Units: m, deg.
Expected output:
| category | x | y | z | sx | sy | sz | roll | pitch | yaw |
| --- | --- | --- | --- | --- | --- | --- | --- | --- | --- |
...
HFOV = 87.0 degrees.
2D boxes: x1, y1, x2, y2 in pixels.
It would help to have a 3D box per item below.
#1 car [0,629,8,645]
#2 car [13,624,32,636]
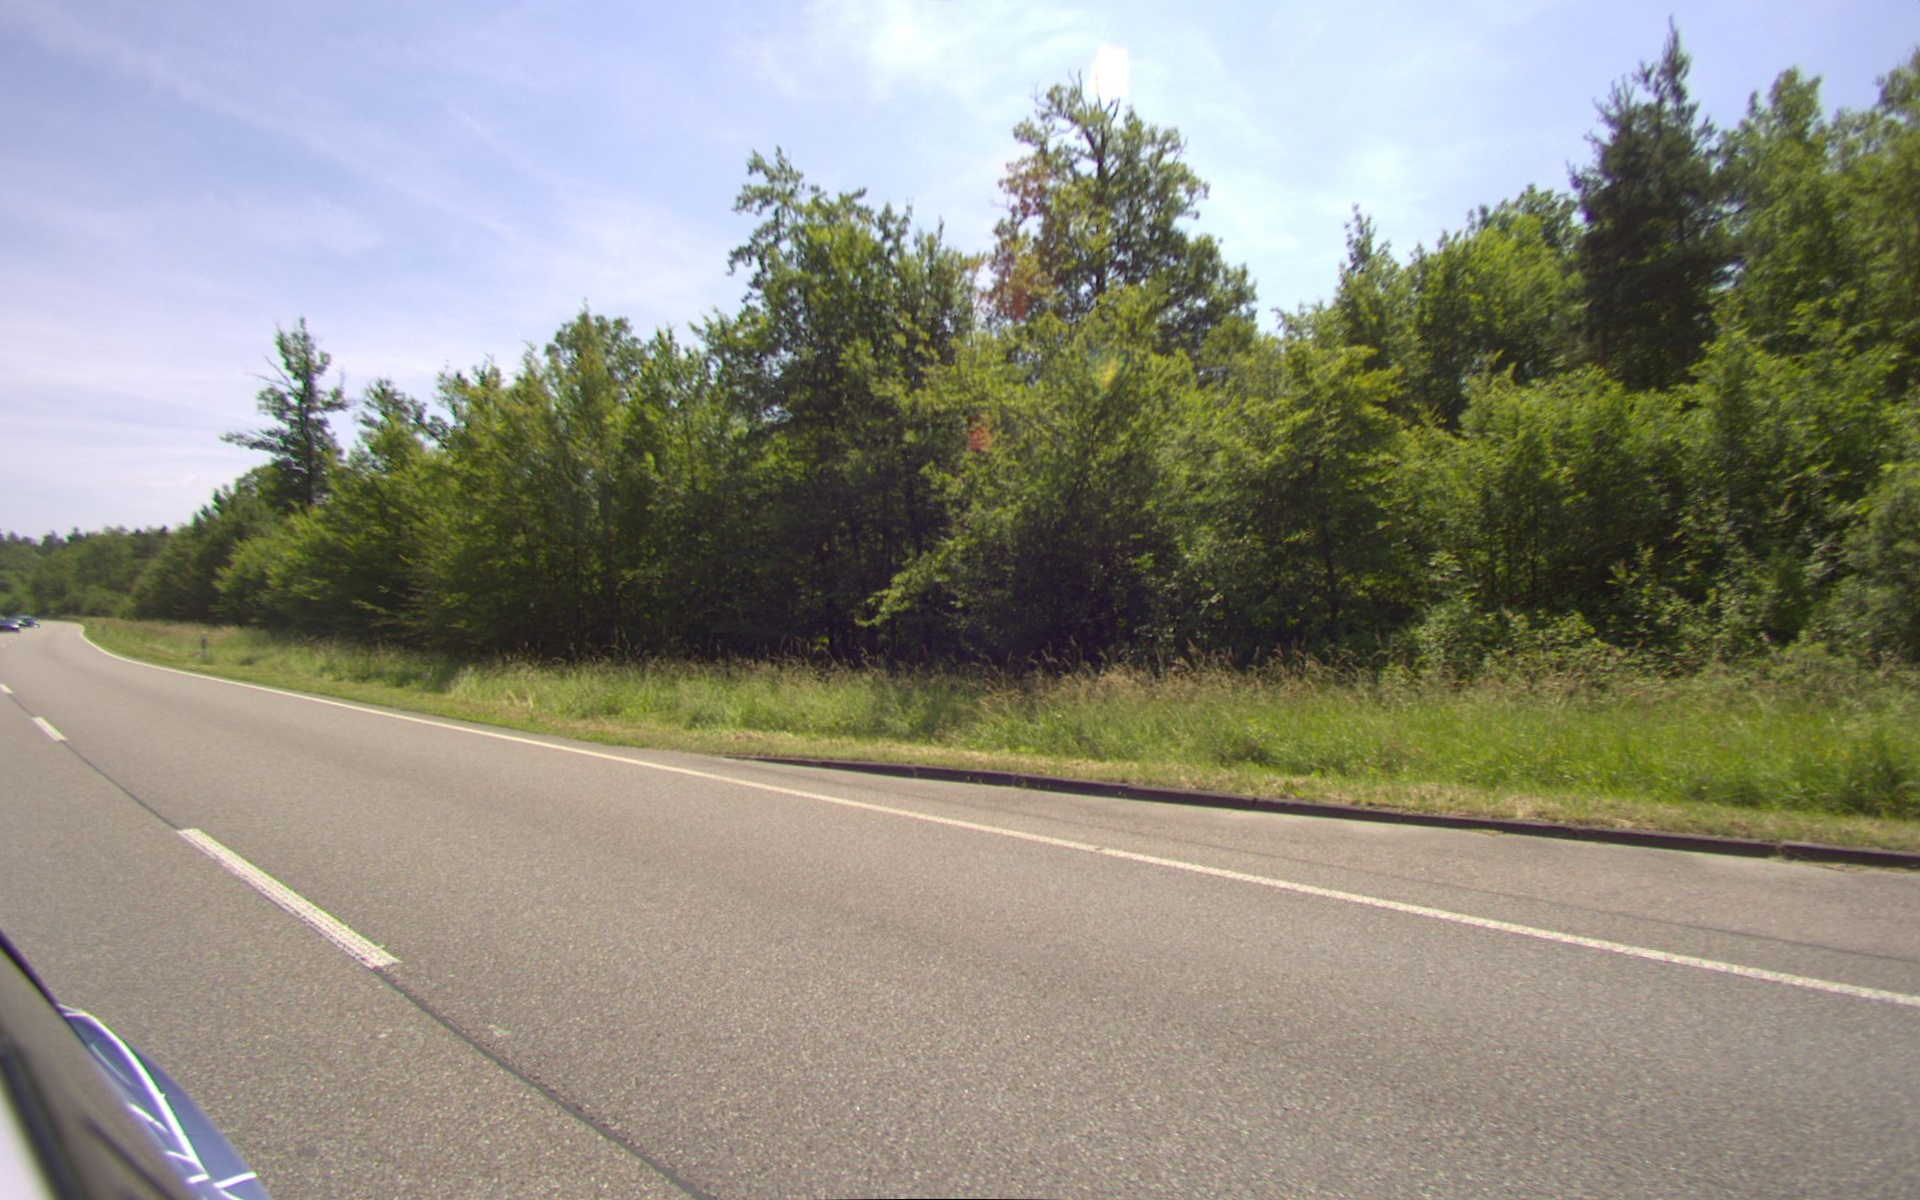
| category | x | y | z | sx | sy | sz | roll | pitch | yaw |
| --- | --- | --- | --- | --- | --- | --- | --- | --- | --- |
| car | -93.766 | 3.602 | 98.363 | 1.751 | 1.474 | 3.951 | 0 | -1 | -44 |
| car | -124.183 | 3.964 | 134.036 | 1.750 | 1.474 | 4.005 | 0 | -1 | -42 |
